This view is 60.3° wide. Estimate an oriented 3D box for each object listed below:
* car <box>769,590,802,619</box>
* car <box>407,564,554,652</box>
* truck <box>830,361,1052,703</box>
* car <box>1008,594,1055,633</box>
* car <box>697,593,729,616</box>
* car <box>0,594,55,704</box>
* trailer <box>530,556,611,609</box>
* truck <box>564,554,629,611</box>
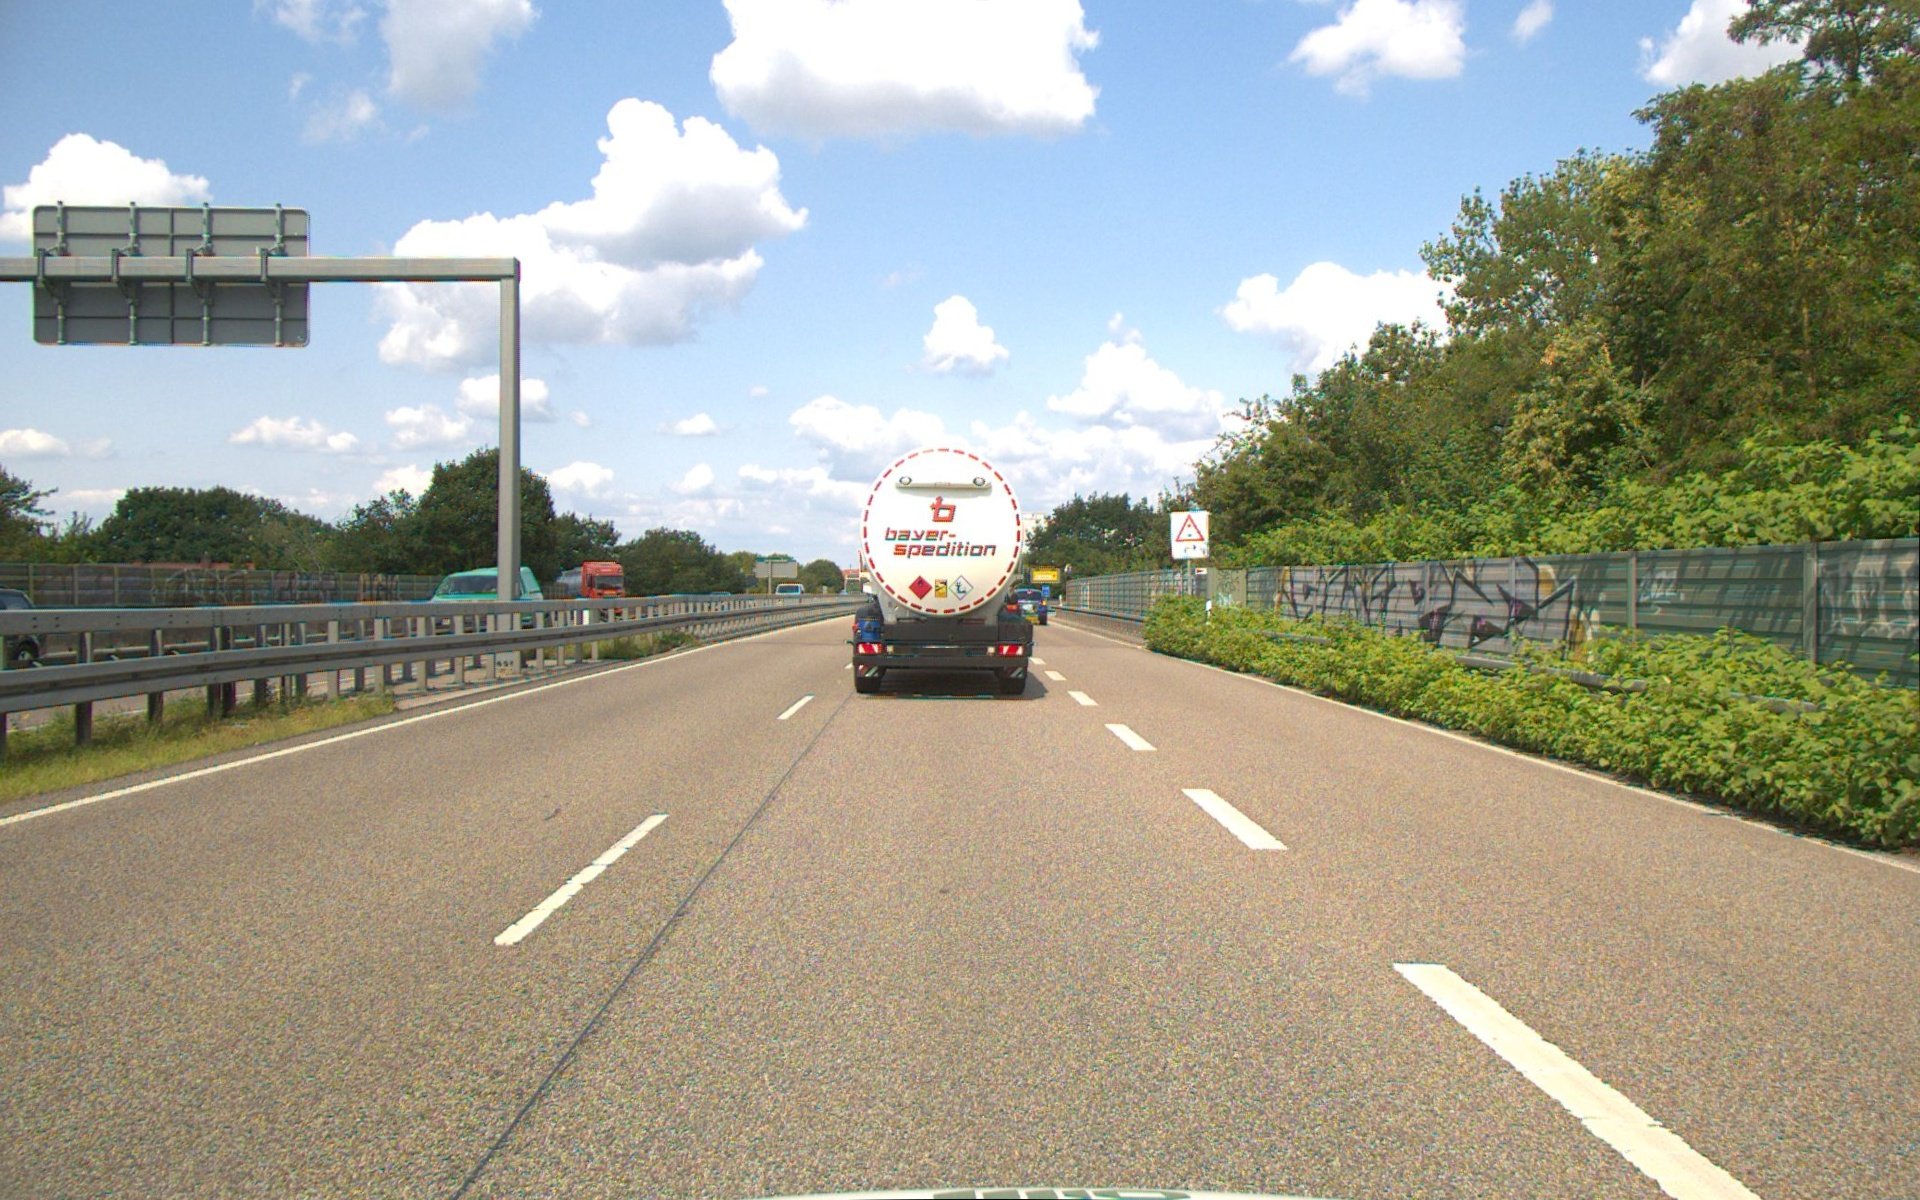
[{"bbox_3d":[-12.517,0.324,118.986,2.038,2.024,5.226,1,0,-3],"label":"car"},{"bbox_3d":[-11.214,0.179,39.091,1.953,1.896,5.391,1,0,-1],"label":"car"},{"bbox_3d":[-0.294,-0.885,25.840,2.836,4.445,8.028,1,0,-1],"label":"truck"},{"bbox_3d":[3.309,0.602,77.526,1.953,1.736,3.999,1,0,-1],"label":"car"},{"bbox_3d":[-16.440,0.288,110.347,1.655,1.456,4.400,1,0,-3],"label":"car"},{"bbox_3d":[-14.976,0.710,23.578,1.667,1.602,4.555,1,0,-1],"label":"car"},{"bbox_3d":[-29.125,-1.327,123.248,2.658,3.734,10.911,2,0,-31],"label":"trailer"},{"bbox_3d":[-25.945,-1.234,117.939,2.622,3.848,6.165,2,0,-32],"label":"truck"}]
